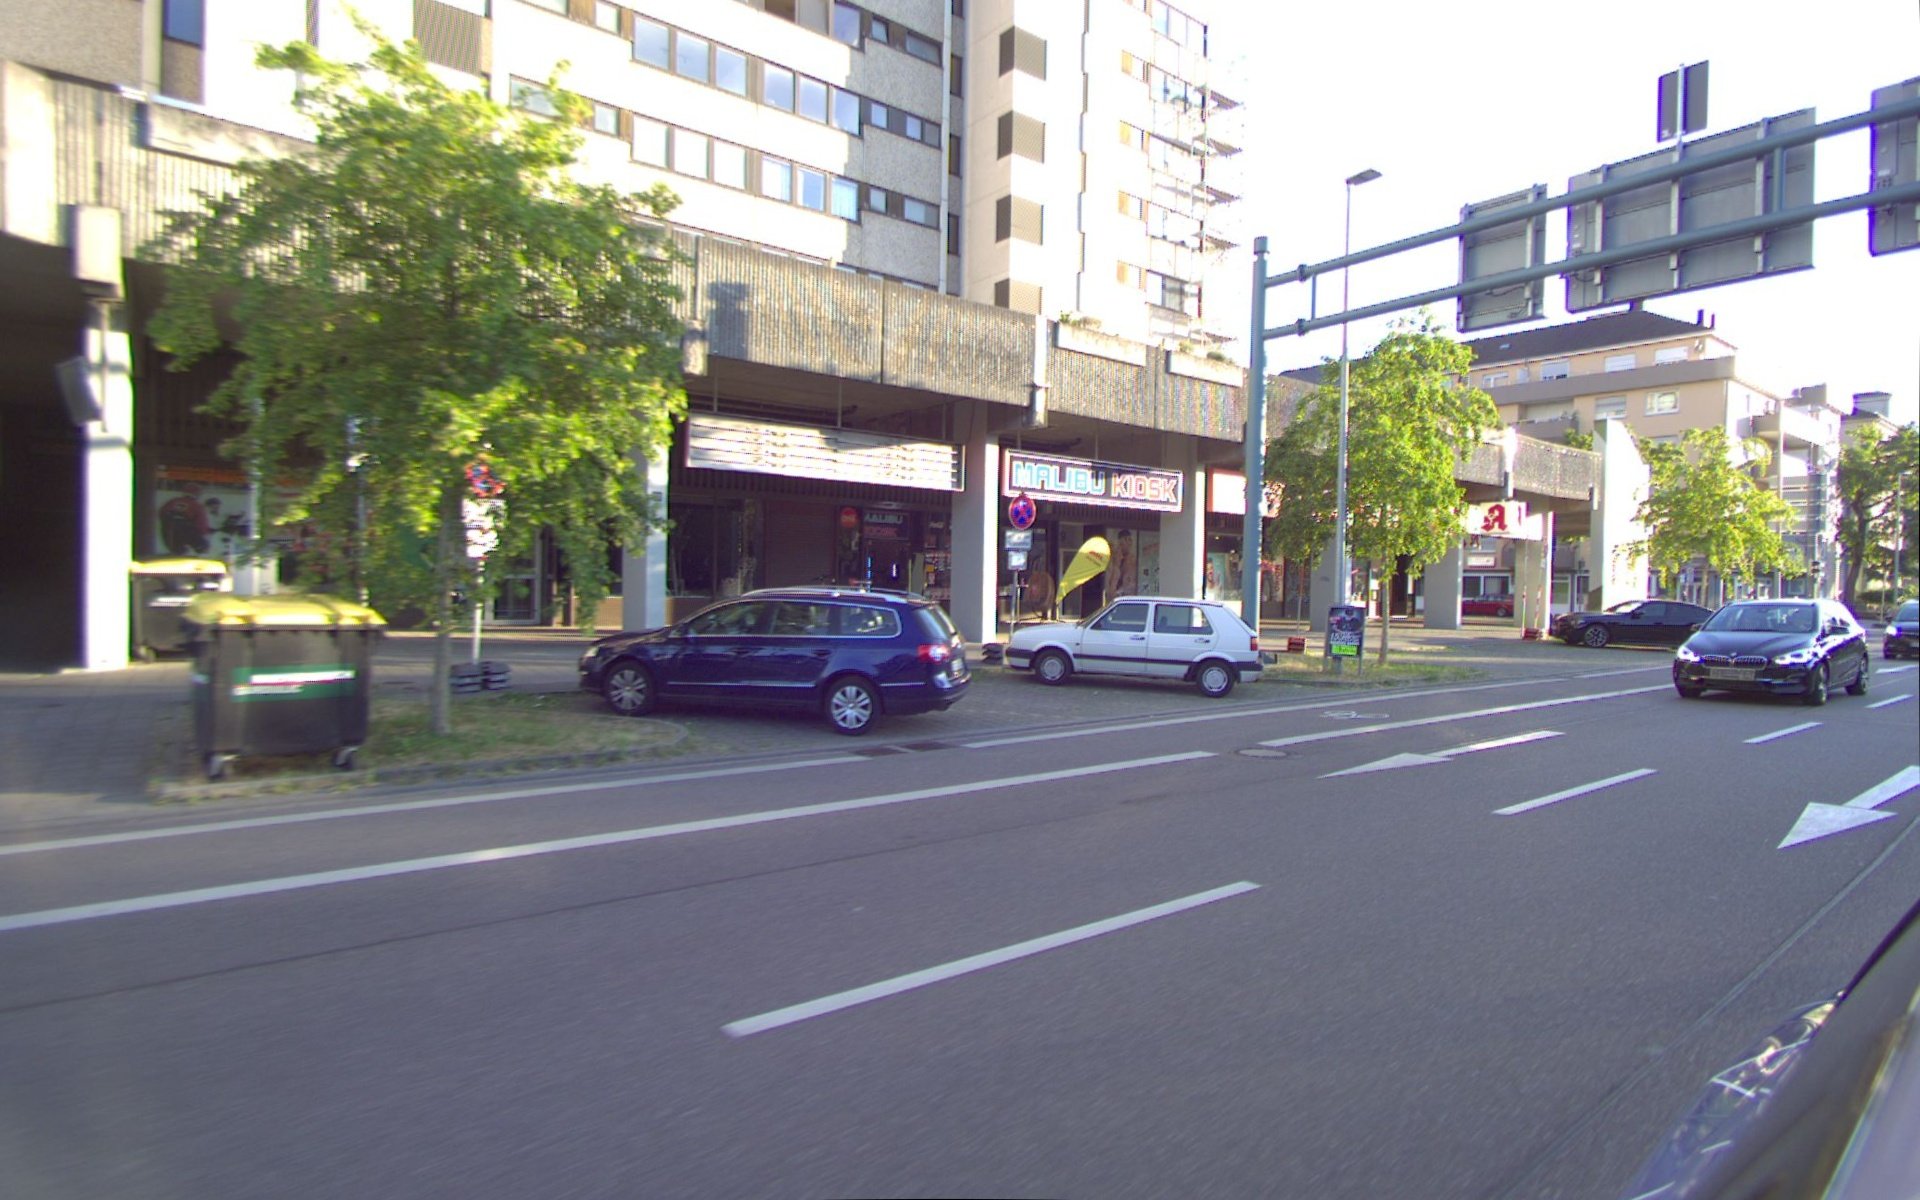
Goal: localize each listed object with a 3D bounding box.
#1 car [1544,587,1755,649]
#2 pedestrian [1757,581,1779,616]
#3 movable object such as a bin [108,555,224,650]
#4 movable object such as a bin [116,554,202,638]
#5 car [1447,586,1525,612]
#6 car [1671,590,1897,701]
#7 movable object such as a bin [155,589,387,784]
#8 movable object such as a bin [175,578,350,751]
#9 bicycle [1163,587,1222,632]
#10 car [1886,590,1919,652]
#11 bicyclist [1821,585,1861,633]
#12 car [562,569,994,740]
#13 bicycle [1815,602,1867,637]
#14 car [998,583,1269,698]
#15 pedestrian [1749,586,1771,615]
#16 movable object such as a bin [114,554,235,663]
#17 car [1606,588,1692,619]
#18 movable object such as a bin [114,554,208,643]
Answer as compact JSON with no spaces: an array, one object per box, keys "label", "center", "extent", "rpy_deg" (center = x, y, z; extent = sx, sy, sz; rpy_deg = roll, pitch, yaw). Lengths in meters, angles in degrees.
[{"label":"car","center":[19.522,0.468,28.870],"extent":[4.535,1.471,1.808],"rpy_deg":[3,2,12]},{"label":"pedestrian","center":[44.818,-0.089,56.165],"extent":[0.534,1.882,0.840],"rpy_deg":[-1,1,-38]},{"label":"movable object such as a bin","center":[-11.557,0.018,14.748],"extent":[1.281,1.315,1.184],"rpy_deg":[0,1,-39]},{"label":"movable object such as a bin","center":[-13.246,-0.077,16.748],"extent":[1.068,1.329,1.184],"rpy_deg":[1,1,-39]},{"label":"car","center":[34.263,-0.086,65.988],"extent":[1.629,1.457,4.220],"rpy_deg":[-4,4,-42]},{"label":"car","center":[13.291,0.633,16.231],"extent":[4.704,1.538,1.825],"rpy_deg":[0,0,-38]},{"label":"movable object such as a bin","center":[-5.414,0.601,7.957],"extent":[1.339,1.317,1.086],"rpy_deg":[0,3,-44]},{"label":"movable object such as a bin","center":[-6.231,0.525,9.038],"extent":[1.141,1.363,1.015],"rpy_deg":[1,3,-43]},{"label":"bicycle","center":[6.121,0.234,26.715],"extent":[0.425,1.061,1.576],"rpy_deg":[1,3,-39]},{"label":"car","center":[26.995,0.549,27.510],"extent":[4.284,1.619,1.828],"rpy_deg":[0,-1,-36]},{"label":"bicyclist","center":[32.817,0.312,37.724],"extent":[0.811,1.713,0.953],"rpy_deg":[2,2,24]},{"label":"car","center":[-2.059,0.518,11.880],"extent":[4.599,1.526,1.933],"rpy_deg":[3,3,13]},{"label":"bicycle","center":[32.799,0.705,37.717],"extent":[0.811,1.188,2.131],"rpy_deg":[2,2,24]},{"label":"car","center":[2.711,0.555,15.889],"extent":[3.933,1.434,1.744],"rpy_deg":[3,3,15]},{"label":"pedestrian","center":[45.041,0.017,56.985],"extent":[0.752,1.635,0.822],"rpy_deg":[-1,1,-37]},{"label":"movable object such as a bin","center":[-10.642,0.088,13.724],"extent":[1.244,1.339,1.185],"rpy_deg":[0,4,-39]},{"label":"car","center":[39.901,0.162,58.652],"extent":[1.586,1.578,3.815],"rpy_deg":[-4,4,-37]},{"label":"movable object such as a bin","center":[-12.459,-0.040,15.786],"extent":[1.104,1.329,1.184],"rpy_deg":[1,1,-39]}]
